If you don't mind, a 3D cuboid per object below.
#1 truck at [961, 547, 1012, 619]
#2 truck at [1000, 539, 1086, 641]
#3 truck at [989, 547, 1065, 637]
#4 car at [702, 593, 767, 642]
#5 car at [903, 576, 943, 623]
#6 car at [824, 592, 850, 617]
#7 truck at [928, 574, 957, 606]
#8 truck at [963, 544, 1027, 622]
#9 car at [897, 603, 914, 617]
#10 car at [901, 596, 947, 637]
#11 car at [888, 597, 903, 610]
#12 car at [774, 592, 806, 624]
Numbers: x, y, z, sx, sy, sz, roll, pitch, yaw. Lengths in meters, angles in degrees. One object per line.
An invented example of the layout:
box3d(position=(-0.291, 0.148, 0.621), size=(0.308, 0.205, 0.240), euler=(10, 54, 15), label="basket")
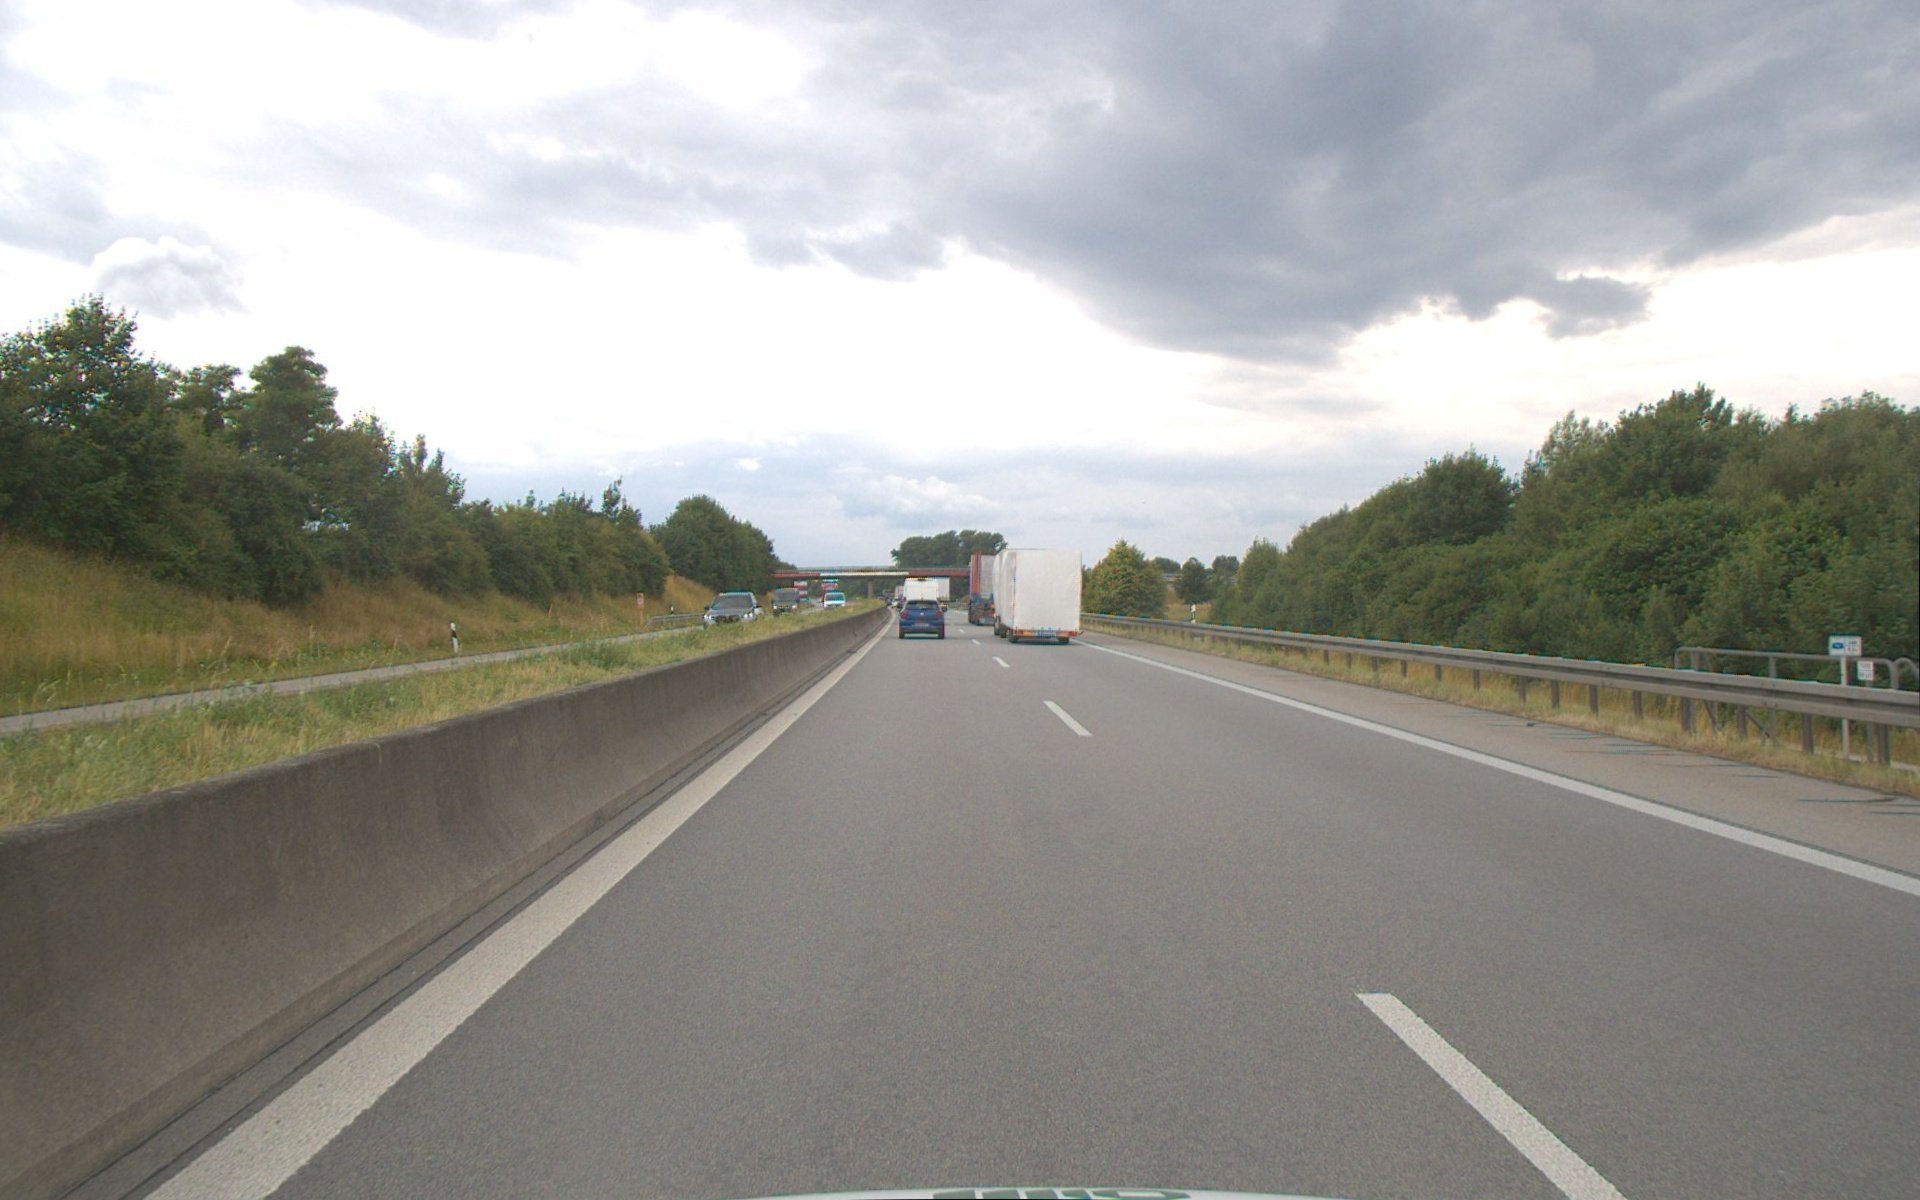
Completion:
box3d(position=(1.528, -0.981, 98.060), size=(2.620, 4.116, 5.508), euler=(0, 0, -4), label="truck")
box3d(position=(2.765, -0.308, 57.120), size=(2.366, 3.278, 7.140), euler=(0, 0, -2), label="truck")
box3d(position=(2.523, -0.298, 64.307), size=(2.381, 3.300, 7.244), euler=(0, 0, -2), label="truck")
box3d(position=(-8.459, 0.640, 62.381), size=(1.880, 1.723, 4.595), euler=(-2, 0, -1), label="car")
box3d(position=(-2.113, -0.014, 92.326), size=(2.087, 2.526, 5.836), euler=(0, 0, -3), label="car")
box3d(position=(-10.249, 0.350, 137.791), size=(1.939, 2.049, 5.128), euler=(0, 0, -2), label="car")
box3d(position=(-2.162, -1.180, 205.579), size=(3.049, 3.754, 9.316), euler=(-2, 0, -3), label="truck")
box3d(position=(1.876, -0.939, 92.744), size=(2.620, 4.116, 11.099), euler=(0, 0, -4), label="truck")
box3d(position=(-6.334, 1.164, 192.299), size=(1.895, 1.672, 4.903), euler=(0, 0, 0), label="car")
box3d(position=(-1.297, 0.582, 60.915), size=(1.629, 1.431, 3.648), euler=(0, 0, 0), label="car")
box3d(position=(-8.794, 0.504, 225.909), size=(1.954, 1.713, 3.997), euler=(0, 0, -3), label="car")
box3d(position=(-14.173, 0.644, 138.326), size=(2.126, 2.508, 6.720), euler=(-2, 0, -2), label="car")
